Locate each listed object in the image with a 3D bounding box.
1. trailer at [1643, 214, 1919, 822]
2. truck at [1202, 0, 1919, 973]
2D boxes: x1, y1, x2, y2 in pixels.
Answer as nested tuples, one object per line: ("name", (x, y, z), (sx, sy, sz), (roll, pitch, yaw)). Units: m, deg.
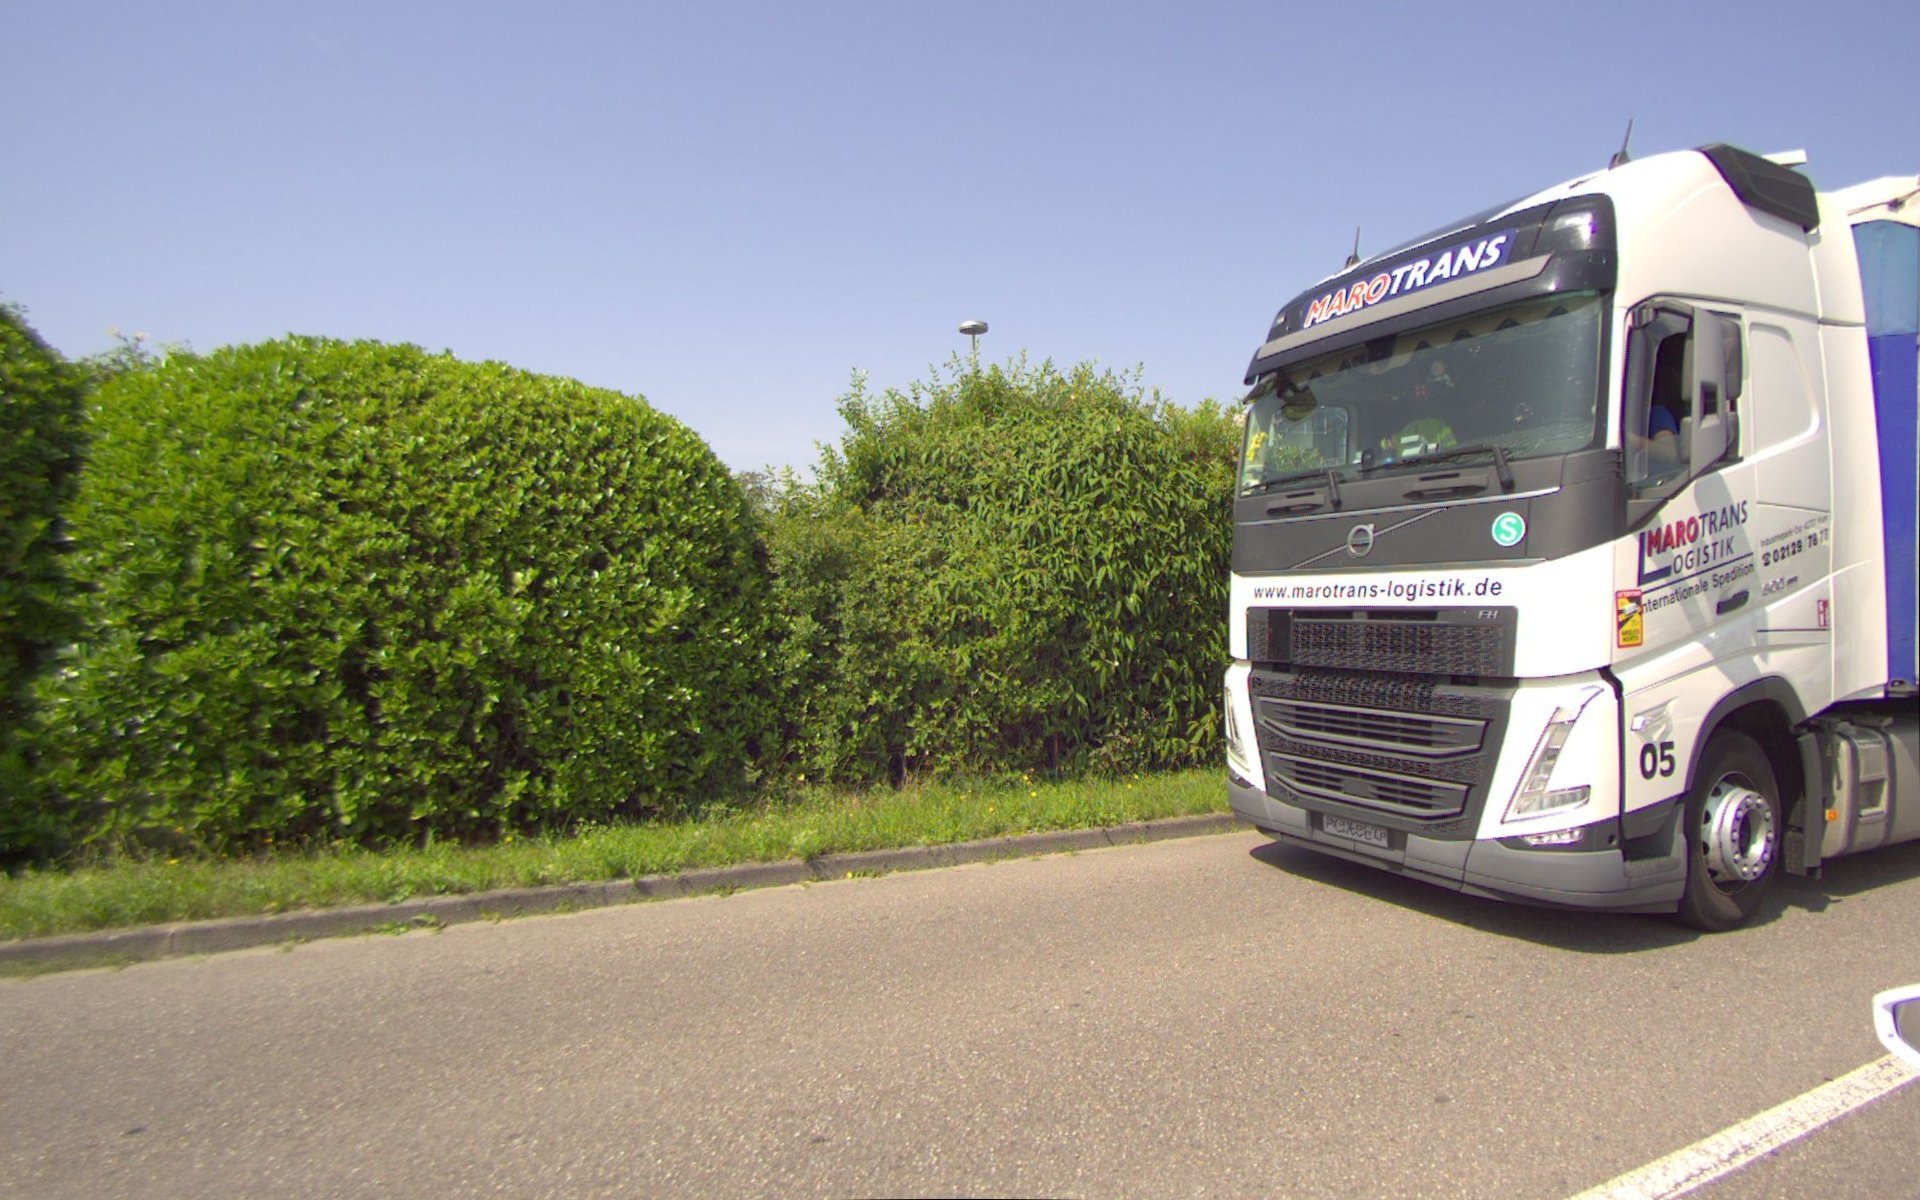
("trailer", (12.878, -0.486, 10.957), (14.386, 4.298, 2.659), (1, 1, -29))
("truck", (4.727, -0.624, 6.527), (6.036, 4.314, 2.503), (1, -1, -28))
